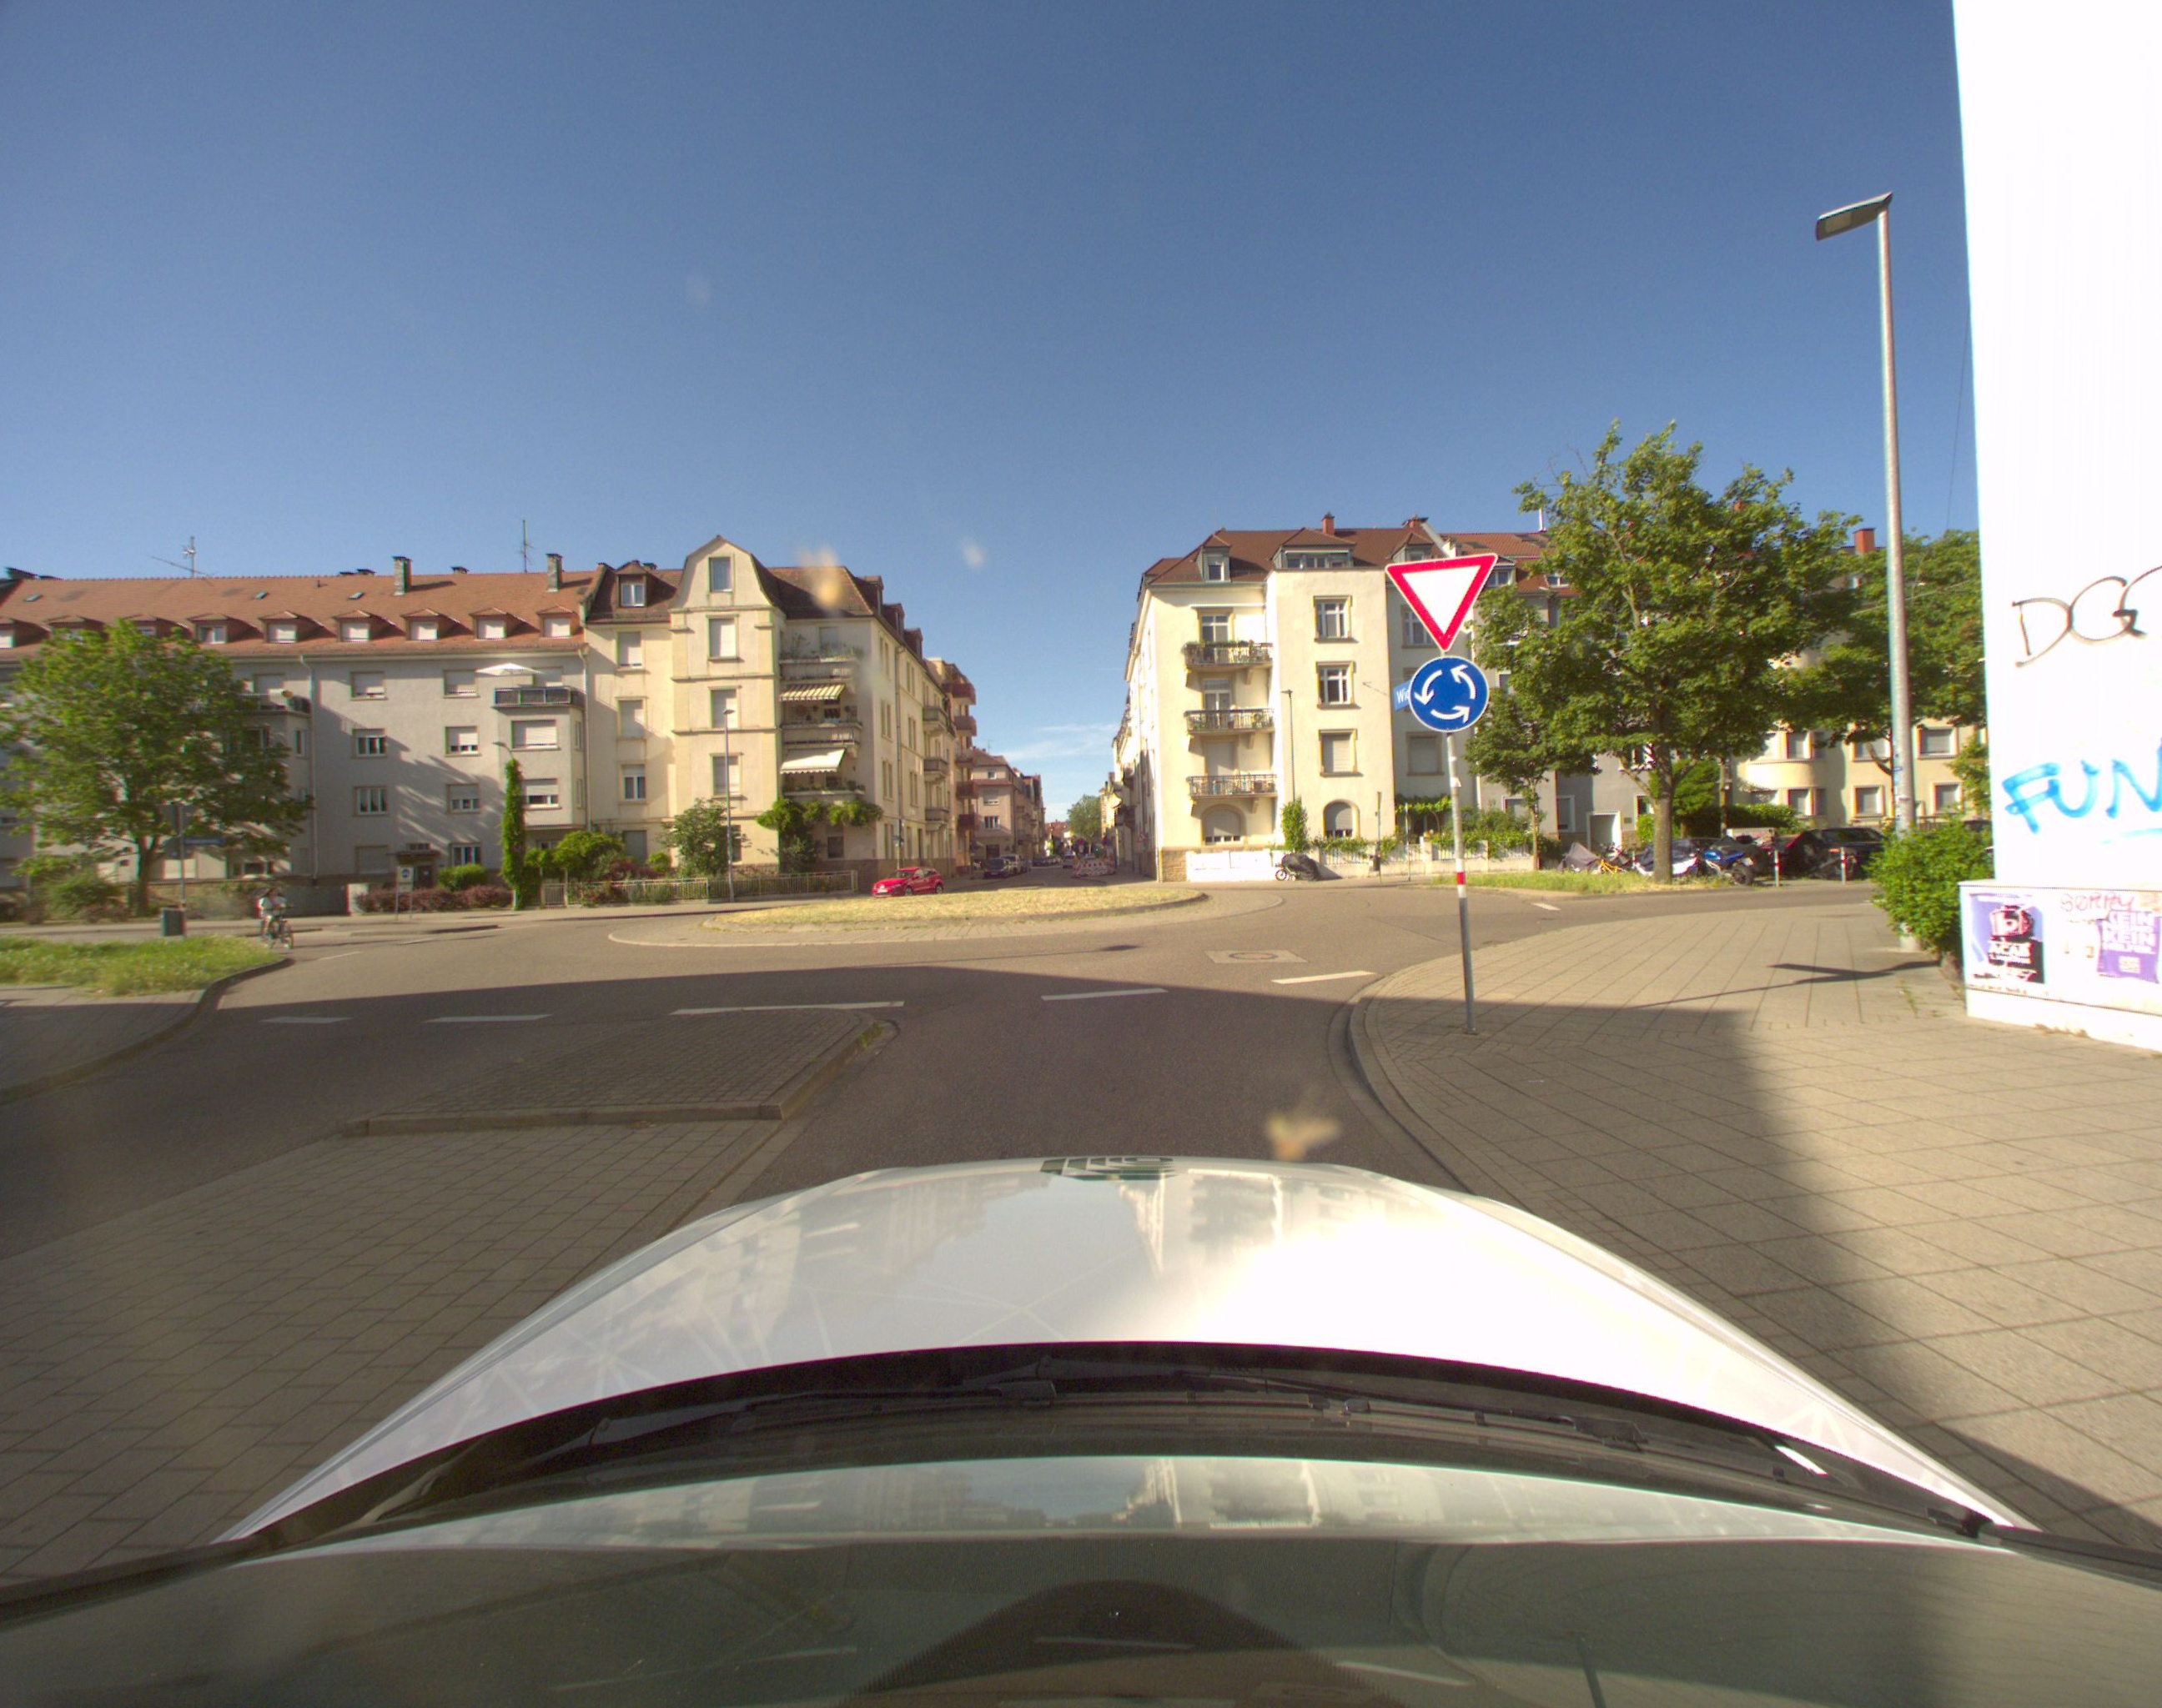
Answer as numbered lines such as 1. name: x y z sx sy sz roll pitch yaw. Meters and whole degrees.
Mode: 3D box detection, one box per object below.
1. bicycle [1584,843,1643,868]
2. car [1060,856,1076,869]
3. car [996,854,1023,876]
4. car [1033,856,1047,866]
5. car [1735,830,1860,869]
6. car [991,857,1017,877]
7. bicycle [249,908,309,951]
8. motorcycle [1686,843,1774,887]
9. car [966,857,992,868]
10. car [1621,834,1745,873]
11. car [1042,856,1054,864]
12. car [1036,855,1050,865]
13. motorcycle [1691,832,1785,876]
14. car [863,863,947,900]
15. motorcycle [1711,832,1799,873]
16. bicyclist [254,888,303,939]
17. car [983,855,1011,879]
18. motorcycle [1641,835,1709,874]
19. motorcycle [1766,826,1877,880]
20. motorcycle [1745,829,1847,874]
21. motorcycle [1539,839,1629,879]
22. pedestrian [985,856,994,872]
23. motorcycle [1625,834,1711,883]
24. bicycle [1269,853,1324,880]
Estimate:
1. bicycle: 24.375 0.063 37.294 2.241 1.059 0.683 -2 0 1
2. car: -1.603 1.070 100.650 1.832 1.431 4.029 -3 -2 1
3. car: -6.530 0.942 75.285 1.969 1.925 5.308 -1 0 0
4. car: -5.992 1.025 119.797 1.673 1.426 4.276 0 -1 2
5. car: 30.002 -0.196 34.179 3.834 1.445 1.751 -2 0 -4
6. car: -6.521 1.063 69.688 1.757 1.621 4.294 -1 0 0
7. bicycle: -21.718 2.022 22.038 2.182 1.014 0.816 -1 -1 36
8. motorcycle: 17.177 0.277 21.615 0.809 1.072 1.844 -2 1 -1
9. car: -13.760 1.164 109.959 1.714 1.438 3.488 -2 1 -44
10. car: 24.980 -0.005 33.884 3.935 1.445 1.751 -2 -2 -4
11. car: -5.865 1.050 146.549 1.972 1.482 4.326 0 -1 -1
12. car: -6.072 0.999 130.278 1.997 1.582 4.485 0 -1 0
13. motorcycle: 20.429 -0.004 25.391 1.045 1.267 2.241 -2 0 -1
14. car: -8.004 1.234 37.329 1.696 1.382 4.022 -3 1 22
15. motorcycle: 22.422 -0.051 27.165 1.045 1.267 2.241 -2 0 -1
16. bicyclist: -21.708 1.590 22.039 0.815 1.312 0.816 -1 -1 36
17. car: -6.593 0.985 64.149 1.757 1.771 4.293 -1 0 0
18. motorcycle: 20.379 0.022 28.002 0.884 1.236 1.893 -2 0 -1
19. motorcycle: 20.597 -0.033 22.727 1.057 1.392 2.125 -2 0 -3
20. motorcycle: 21.622 -0.067 24.707 1.045 1.267 2.241 -2 0 -1
21. motorcycle: 17.120 0.162 27.832 1.122 1.267 2.777 -2 0 -6
22. pedestrian: -10.717 1.142 95.146 0.922 1.817 0.993 -1 -1 -3
23. motorcycle: 17.074 0.137 23.755 0.859 1.328 2.051 -2 0 -5
24. bicycle: 9.723 0.559 36.819 2.257 1.157 0.771 -1 -1 42
